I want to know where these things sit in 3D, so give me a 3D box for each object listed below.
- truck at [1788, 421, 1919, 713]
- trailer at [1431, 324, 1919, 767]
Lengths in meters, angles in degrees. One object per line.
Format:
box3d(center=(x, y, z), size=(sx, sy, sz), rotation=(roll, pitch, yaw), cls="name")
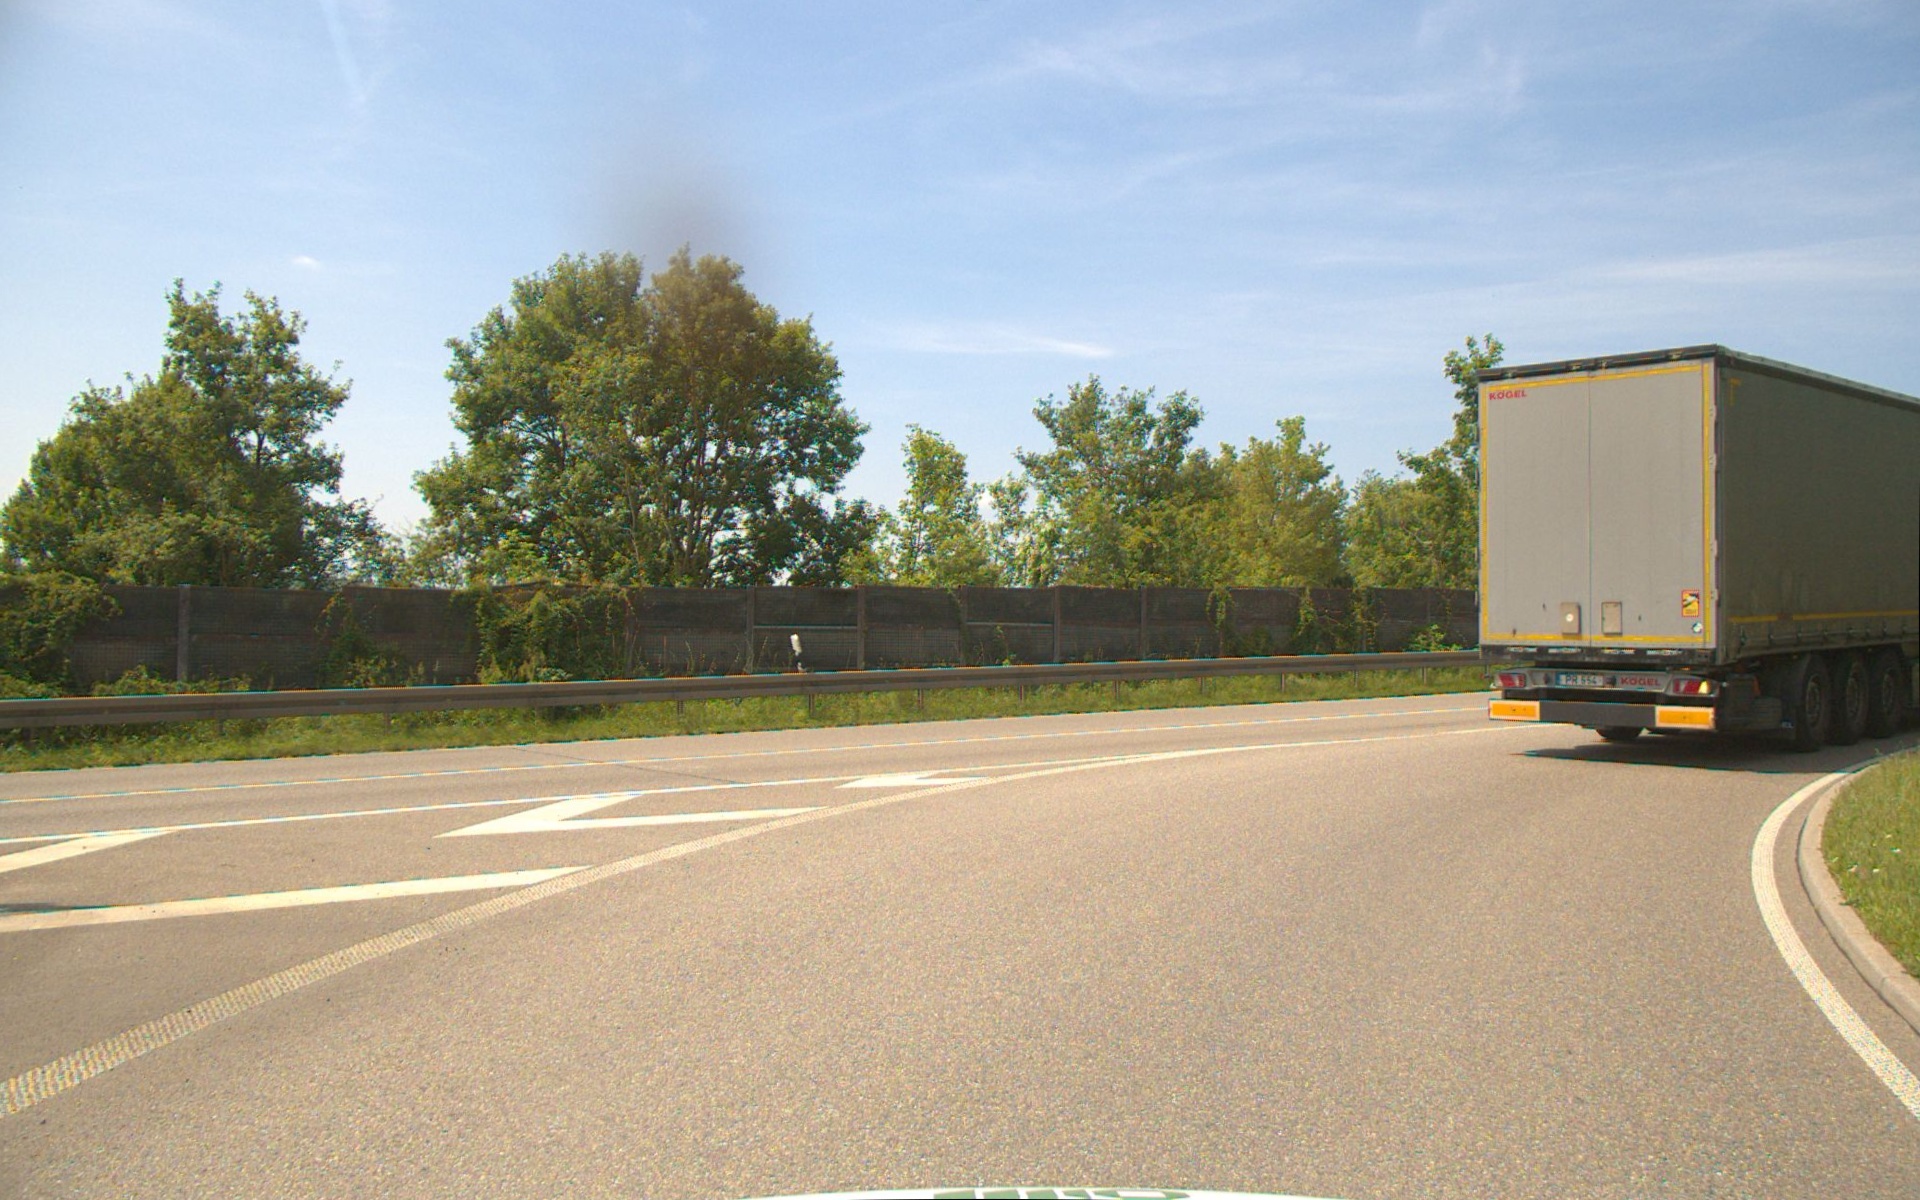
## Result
box3d(center=(16.695, -0.413, 26.737), size=(7.044, 4.299, 3.122), rotation=(1, -2, -37), cls="truck")
box3d(center=(10.692, -0.432, 21.118), size=(2.986, 4.105, 13.253), rotation=(-1, -1, 45), cls="trailer")
